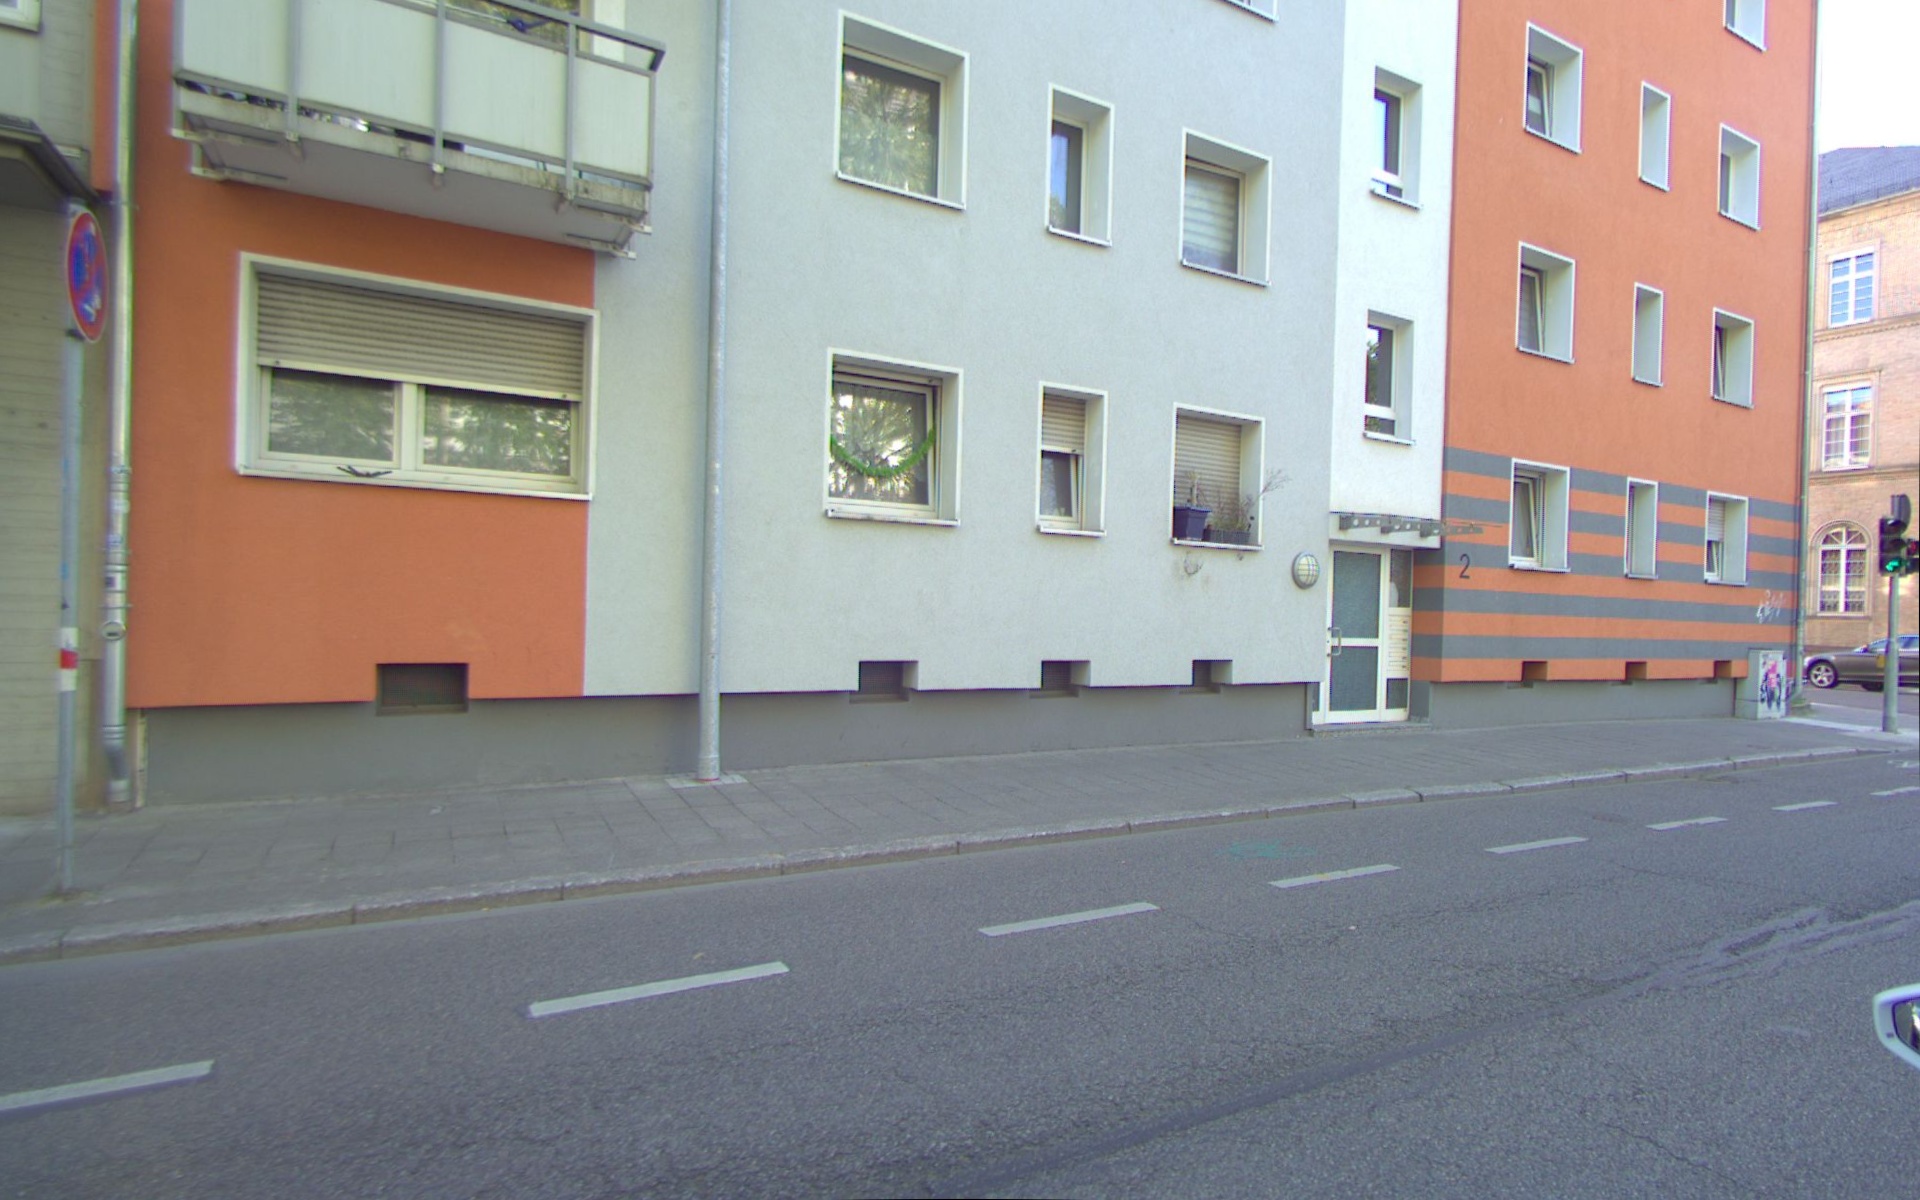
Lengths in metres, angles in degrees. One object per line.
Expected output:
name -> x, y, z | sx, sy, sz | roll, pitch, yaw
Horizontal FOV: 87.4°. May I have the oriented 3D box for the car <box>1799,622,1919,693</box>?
car -> 22.732, 1.373, 23.518 | 1.896, 1.550, 4.497 | 1, 0, -12
